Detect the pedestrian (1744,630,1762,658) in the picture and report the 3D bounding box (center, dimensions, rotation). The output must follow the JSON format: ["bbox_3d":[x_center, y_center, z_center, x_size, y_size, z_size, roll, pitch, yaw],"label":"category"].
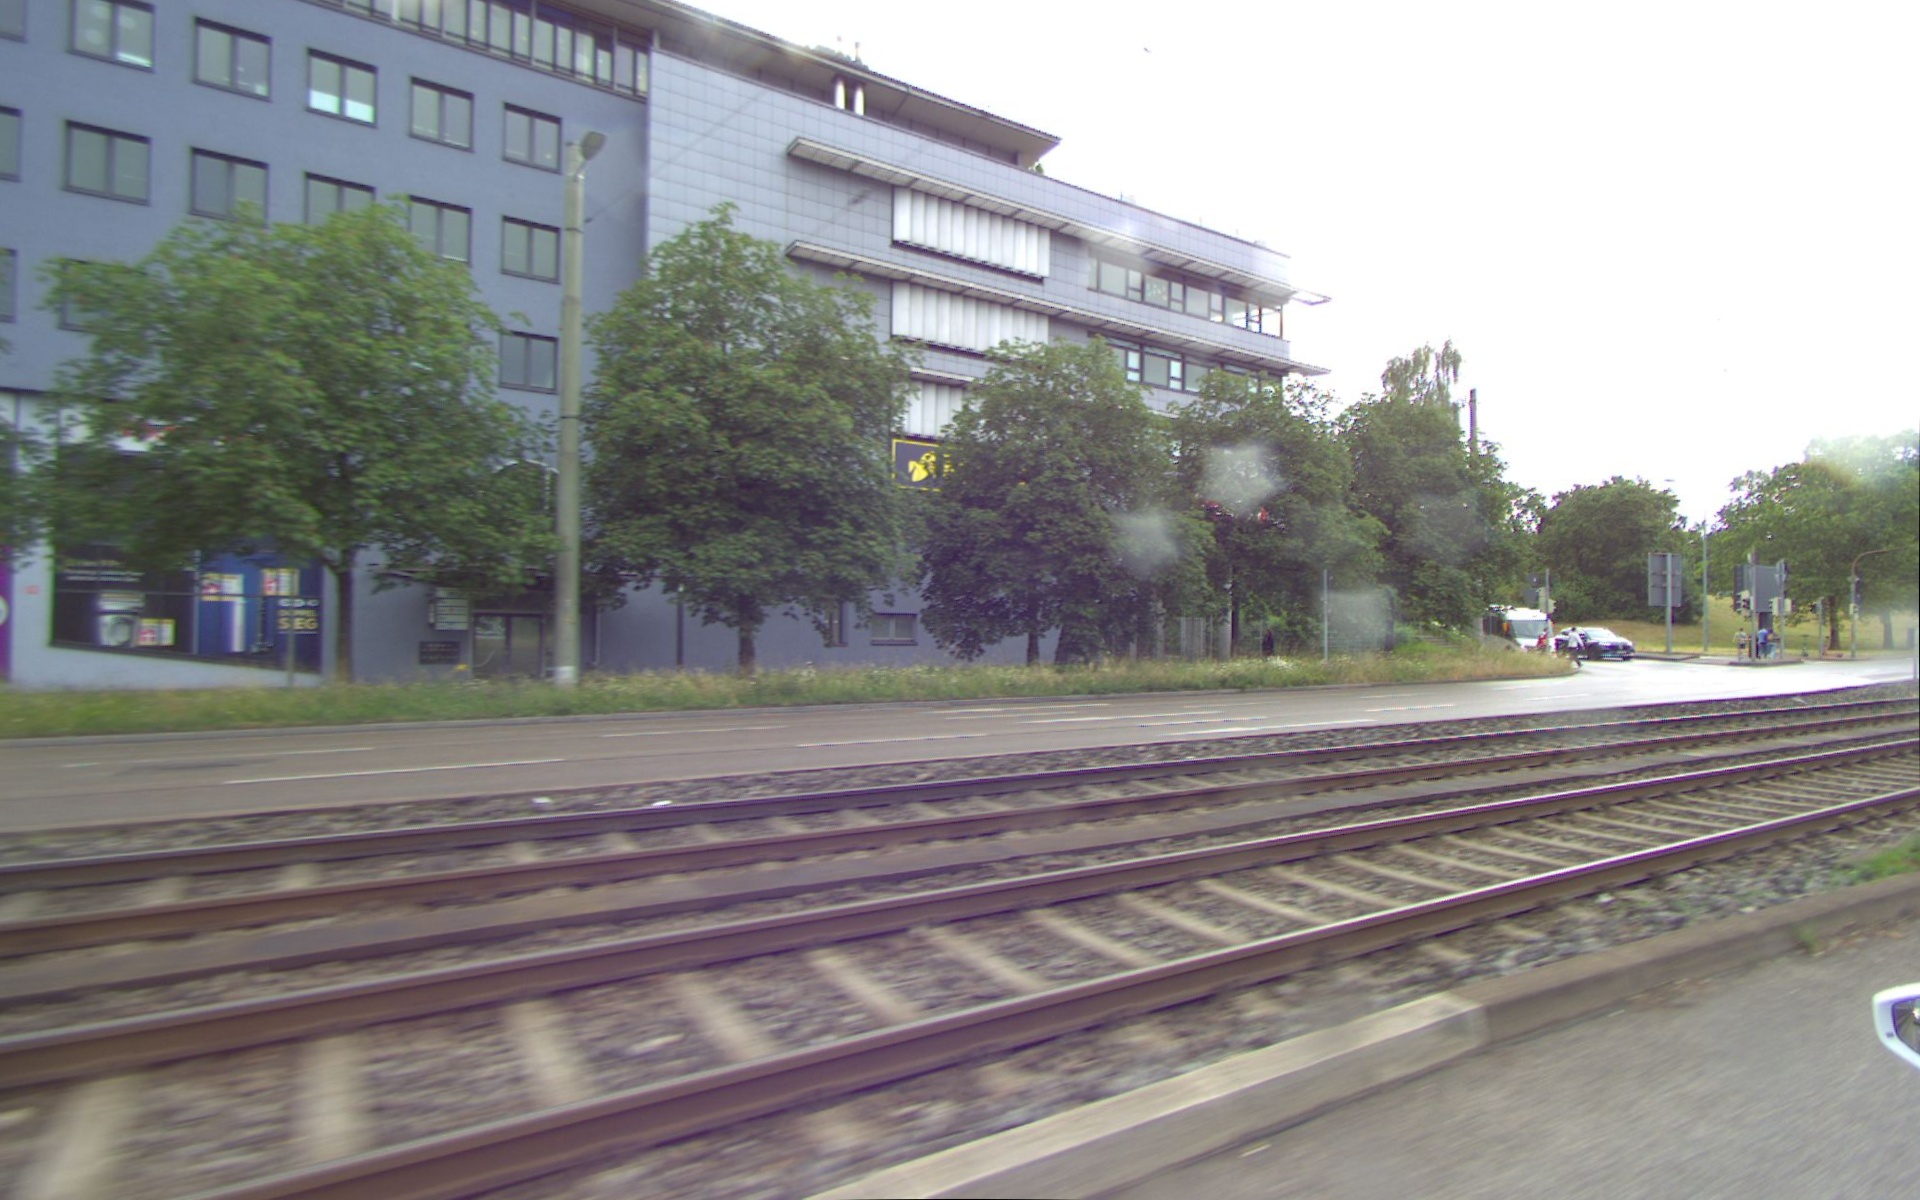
[{"bbox_3d":[43.960,2.422,55.674,0.713,1.493,0.493,1,1,-30],"label":"pedestrian"}]

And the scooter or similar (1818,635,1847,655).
[{"bbox_3d":[52.090,2.683,59.958,1.254,1.177,0.380,0,-1,14],"label":"scooter or similar"}]

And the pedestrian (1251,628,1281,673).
[{"bbox_3d":[12.398,2.028,40.659,0.867,1.779,0.722,1,1,-29],"label":"pedestrian"}]

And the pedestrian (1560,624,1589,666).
[{"bbox_3d":[28.129,2.069,46.016,0.935,1.892,0.636,0,-1,0],"label":"pedestrian"}]

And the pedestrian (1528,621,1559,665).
[{"bbox_3d":[27.297,1.995,47.036,0.927,2.040,0.890,1,-1,-2],"label":"pedestrian"}]

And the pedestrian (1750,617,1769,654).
[{"bbox_3d":[42.889,1.897,53.905,0.713,1.982,0.494,1,1,-27],"label":"pedestrian"}]

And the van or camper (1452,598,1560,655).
[{"bbox_3d":[30.530,1.425,56.544,2.441,3.006,7.378,0,-1,3],"label":"van or camper"}]

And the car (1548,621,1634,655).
[{"bbox_3d":[34.636,2.058,55.318,1.960,1.755,4.632,0,0,2],"label":"car"}]

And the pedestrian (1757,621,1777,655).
[{"bbox_3d":[42.939,2.026,53.456,0.821,1.811,0.504,1,1,-27],"label":"pedestrian"}]

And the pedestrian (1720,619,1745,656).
[{"bbox_3d":[43.211,2.117,56.184,0.857,2.040,0.881,1,-1,-36],"label":"pedestrian"}]
